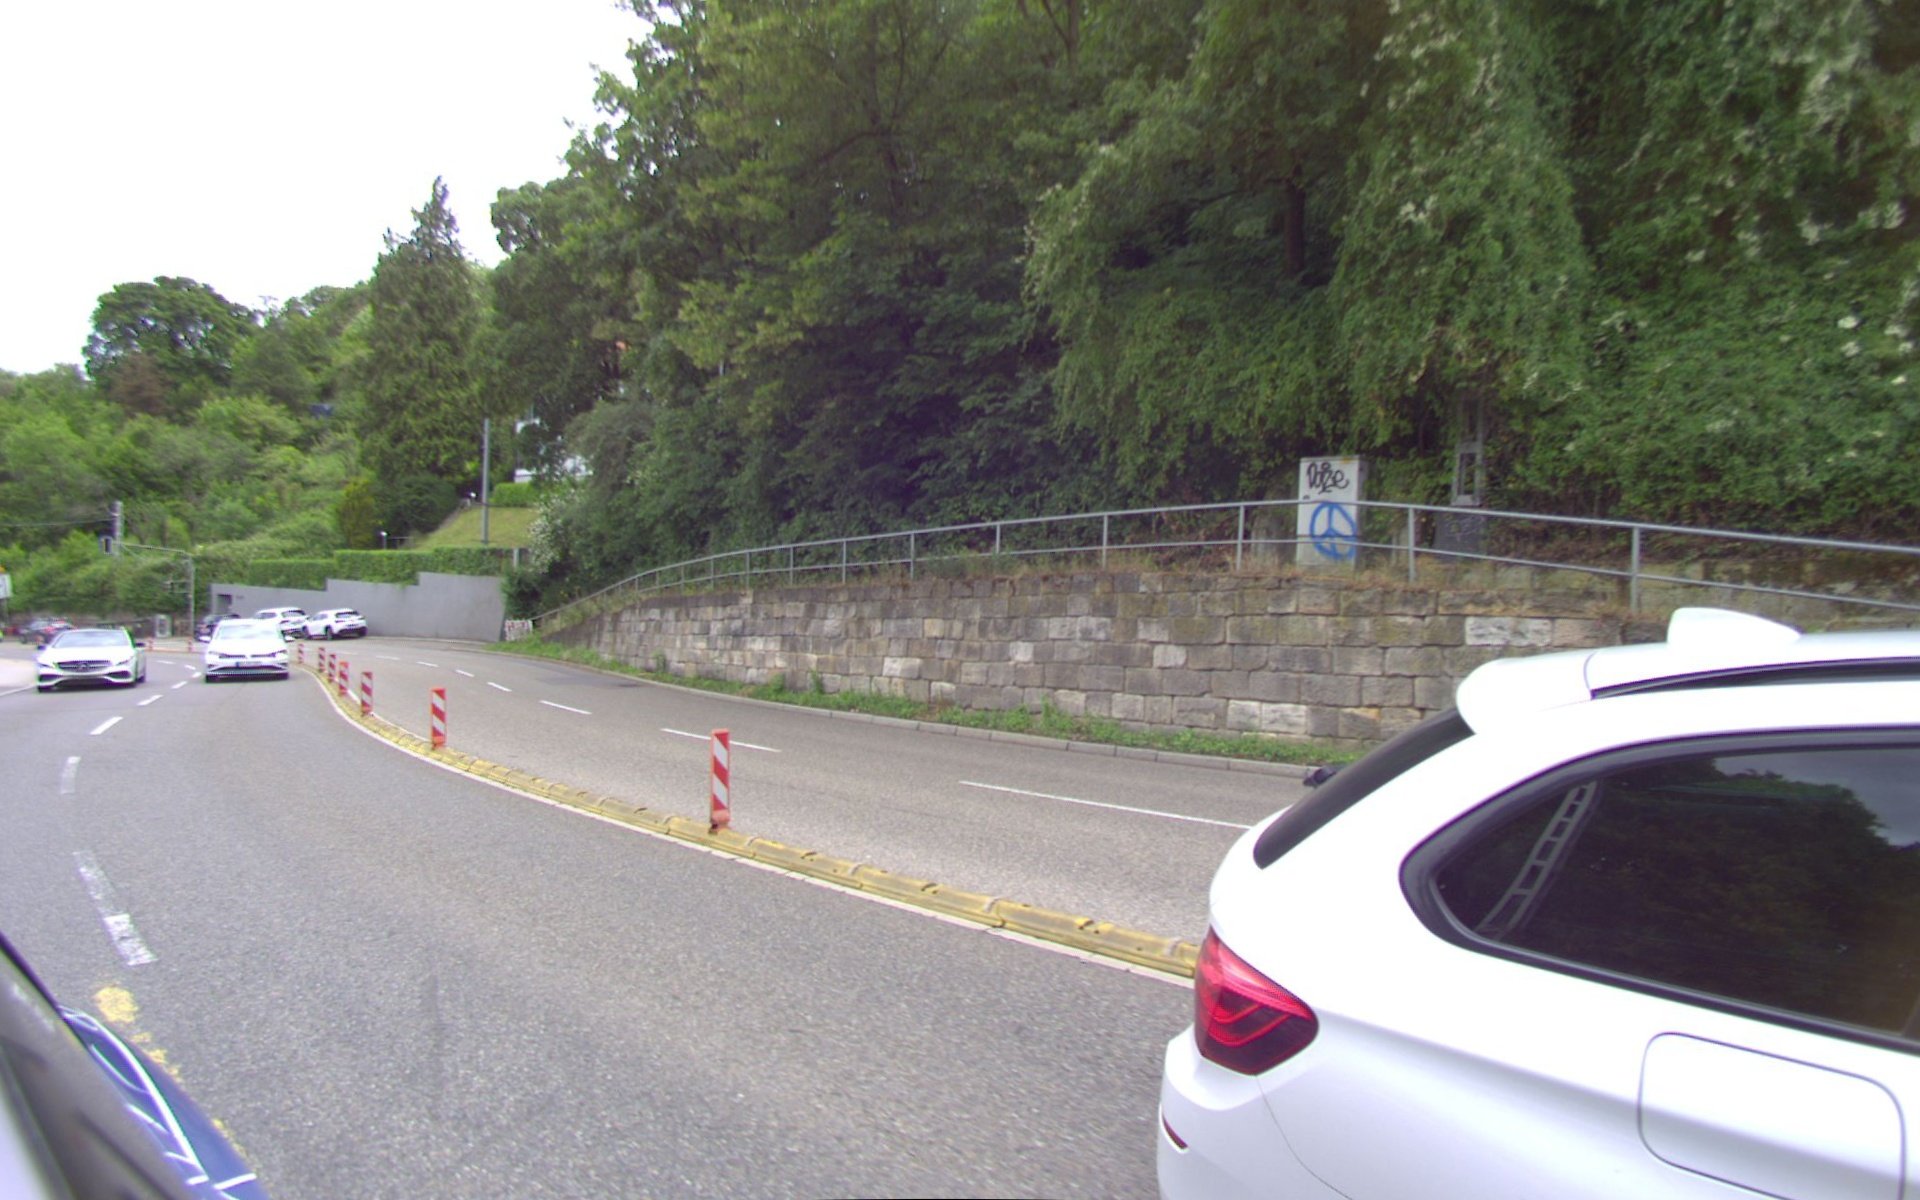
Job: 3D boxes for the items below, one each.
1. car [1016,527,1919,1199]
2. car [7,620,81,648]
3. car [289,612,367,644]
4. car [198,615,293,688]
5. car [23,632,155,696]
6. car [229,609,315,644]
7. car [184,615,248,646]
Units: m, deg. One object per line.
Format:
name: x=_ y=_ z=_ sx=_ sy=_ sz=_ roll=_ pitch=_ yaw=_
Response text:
car: x=2.528 y=0.625 z=0.785 sx=4.877 sy=1.477 sz=1.828 roll=0 pitch=2 yaw=42
car: x=-56.581 y=2.085 z=62.491 sx=4.177 sy=1.609 sz=1.704 roll=-1 pitch=1 yaw=22
car: x=-33.708 y=1.467 z=53.922 sx=4.462 sy=1.584 sz=1.818 roll=0 pitch=2 yaw=33
car: x=-18.738 y=1.269 z=26.537 sx=1.856 sy=1.590 sz=4.009 roll=-3 pitch=2 yaw=-36
car: x=-20.731 y=1.477 z=24.256 sx=1.769 sy=1.316 sz=4.112 roll=-2 pitch=-1 yaw=-32
car: x=-38.666 y=1.484 z=56.841 sx=4.736 sy=1.744 sz=1.849 roll=-1 pitch=2 yaw=27
car: x=-43.191 y=1.784 z=58.742 sx=2.940 sy=1.584 sz=1.703 roll=-2 pitch=3 yaw=25
